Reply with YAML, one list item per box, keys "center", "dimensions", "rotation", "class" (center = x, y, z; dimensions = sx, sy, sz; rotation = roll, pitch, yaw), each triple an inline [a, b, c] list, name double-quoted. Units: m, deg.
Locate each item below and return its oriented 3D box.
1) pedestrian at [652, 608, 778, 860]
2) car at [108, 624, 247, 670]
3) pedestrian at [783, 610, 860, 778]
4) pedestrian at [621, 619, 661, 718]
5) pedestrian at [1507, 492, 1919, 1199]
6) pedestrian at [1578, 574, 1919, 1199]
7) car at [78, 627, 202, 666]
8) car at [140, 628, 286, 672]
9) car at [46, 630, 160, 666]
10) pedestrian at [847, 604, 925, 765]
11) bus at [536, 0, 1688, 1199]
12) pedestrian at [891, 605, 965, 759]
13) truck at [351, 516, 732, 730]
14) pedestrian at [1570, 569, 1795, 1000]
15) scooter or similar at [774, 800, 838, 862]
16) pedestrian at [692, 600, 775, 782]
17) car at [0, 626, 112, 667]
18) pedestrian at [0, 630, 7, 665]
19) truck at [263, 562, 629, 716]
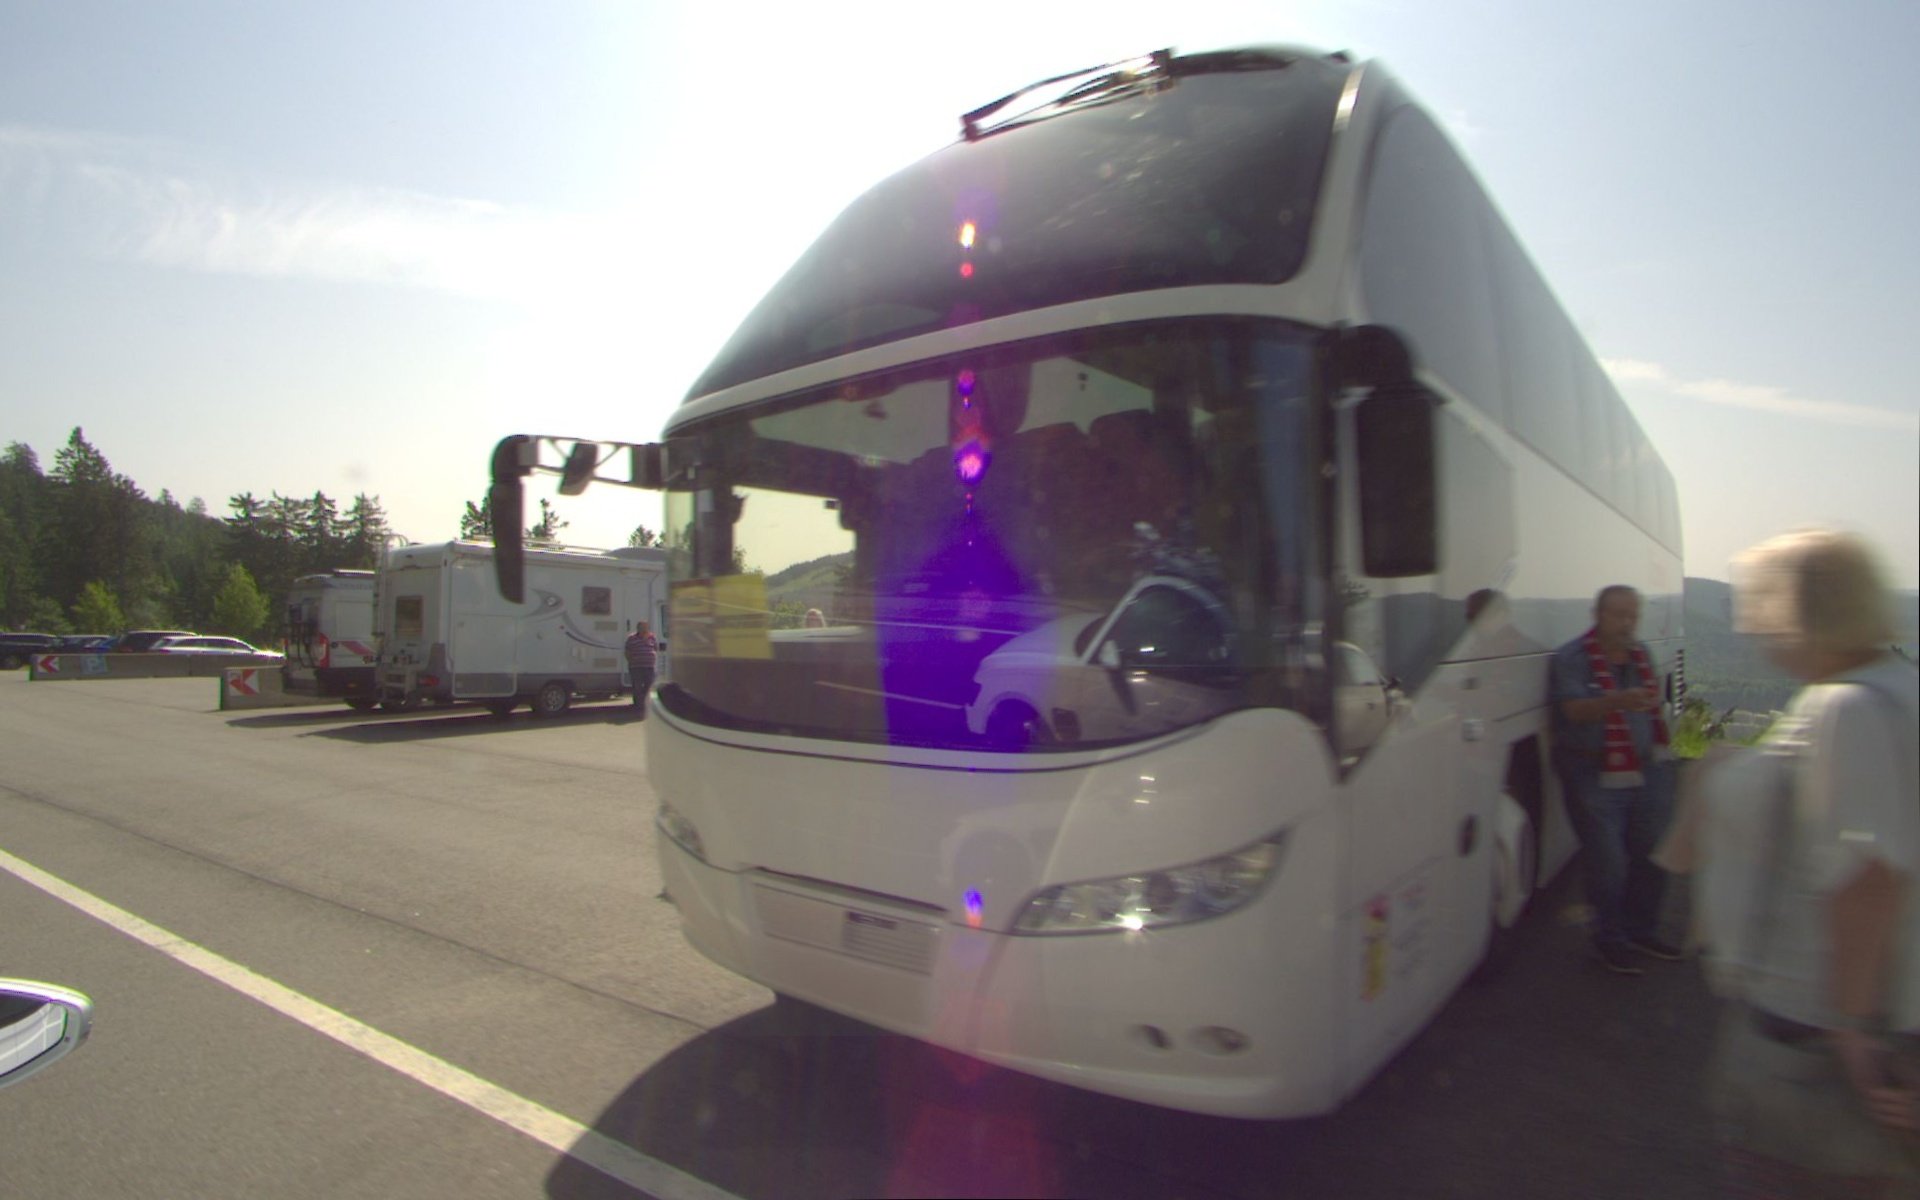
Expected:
- center: [-1.649, 0.851, 6.732]
  dimensions: [0.625, 1.587, 0.623]
  rotation: [0, 0, -38]
  class: "pedestrian"
- center: [-30.455, 1.859, 39.080]
  dimensions: [1.579, 1.667, 3.979]
  rotation: [-1, -4, 35]
  class: "car"
- center: [-1.450, 0.945, 10.415]
  dimensions: [0.622, 1.672, 0.625]
  rotation: [0, 0, -28]
  class: "pedestrian"
- center: [-5.495, 1.160, 17.287]
  dimensions: [0.636, 1.662, 0.631]
  rotation: [0, 0, -16]
  class: "pedestrian"
- center: [1.546, 0.691, 1.787]
  dimensions: [0.695, 1.664, 0.745]
  rotation: [0, -1, -5]
  class: "pedestrian"
- center: [2.290, 0.748, 2.787]
  dimensions: [0.636, 1.617, 0.741]
  rotation: [0, 1, -26]
  class: "pedestrian"
- center: [-36.750, 2.070, 44.974]
  dimensions: [1.782, 1.556, 3.977]
  rotation: [3, 0, 35]
  class: "car"
- center: [-27.665, 1.880, 37.208]
  dimensions: [1.750, 1.494, 3.977]
  rotation: [-1, -4, 36]
  class: "car"
- center: [-39.763, 2.193, 46.529]
  dimensions: [1.578, 1.587, 3.745]
  rotation: [-1, -2, 33]
  class: "car"
- center: [-0.823, 0.911, 11.128]
  dimensions: [0.625, 1.720, 0.623]
  rotation: [0, 0, -38]
  class: "pedestrian"
- center: [3.526, -0.184, 7.780]
  dimensions: [2.805, 3.624, 12.793]
  rotation: [-1, -1, 39]
  class: "bus"
- center: [-0.374, 0.927, 11.629]
  dimensions: [0.625, 1.719, 0.623]
  rotation: [0, 0, -38]
  class: "pedestrian"
- center: [-7.335, 0.414, 18.318]
  dimensions: [2.499, 3.237, 6.045]
  rotation: [-1, -1, 36]
  class: "truck"
- center: [3.127, 0.716, 4.343]
  dimensions: [0.736, 1.665, 0.641]
  rotation: [0, 1, 40]
  class: "pedestrian"
- center: [-1.010, 1.503, 6.548]
  dimensions: [0.282, 0.315, 0.324]
  rotation: [0, -1, -43]
  class: "scooter or similar"
- center: [-2.307, 0.895, 10.202]
  dimensions: [0.625, 1.780, 0.623]
  rotation: [0, 0, -38]
  class: "pedestrian"
- center: [-42.896, 2.161, 47.102]
  dimensions: [1.867, 1.816, 4.251]
  rotation: [-1, -2, 36]
  class: "car"
- center: [-45.711, 2.241, 47.478]
  dimensions: [0.610, 1.608, 0.731]
  rotation: [0, 1, -32]
  class: "pedestrian"
- center: [-10.076, 0.721, 20.241]
  dimensions: [2.311, 2.624, 6.237]
  rotation: [0, -1, 38]
  class: "truck"
